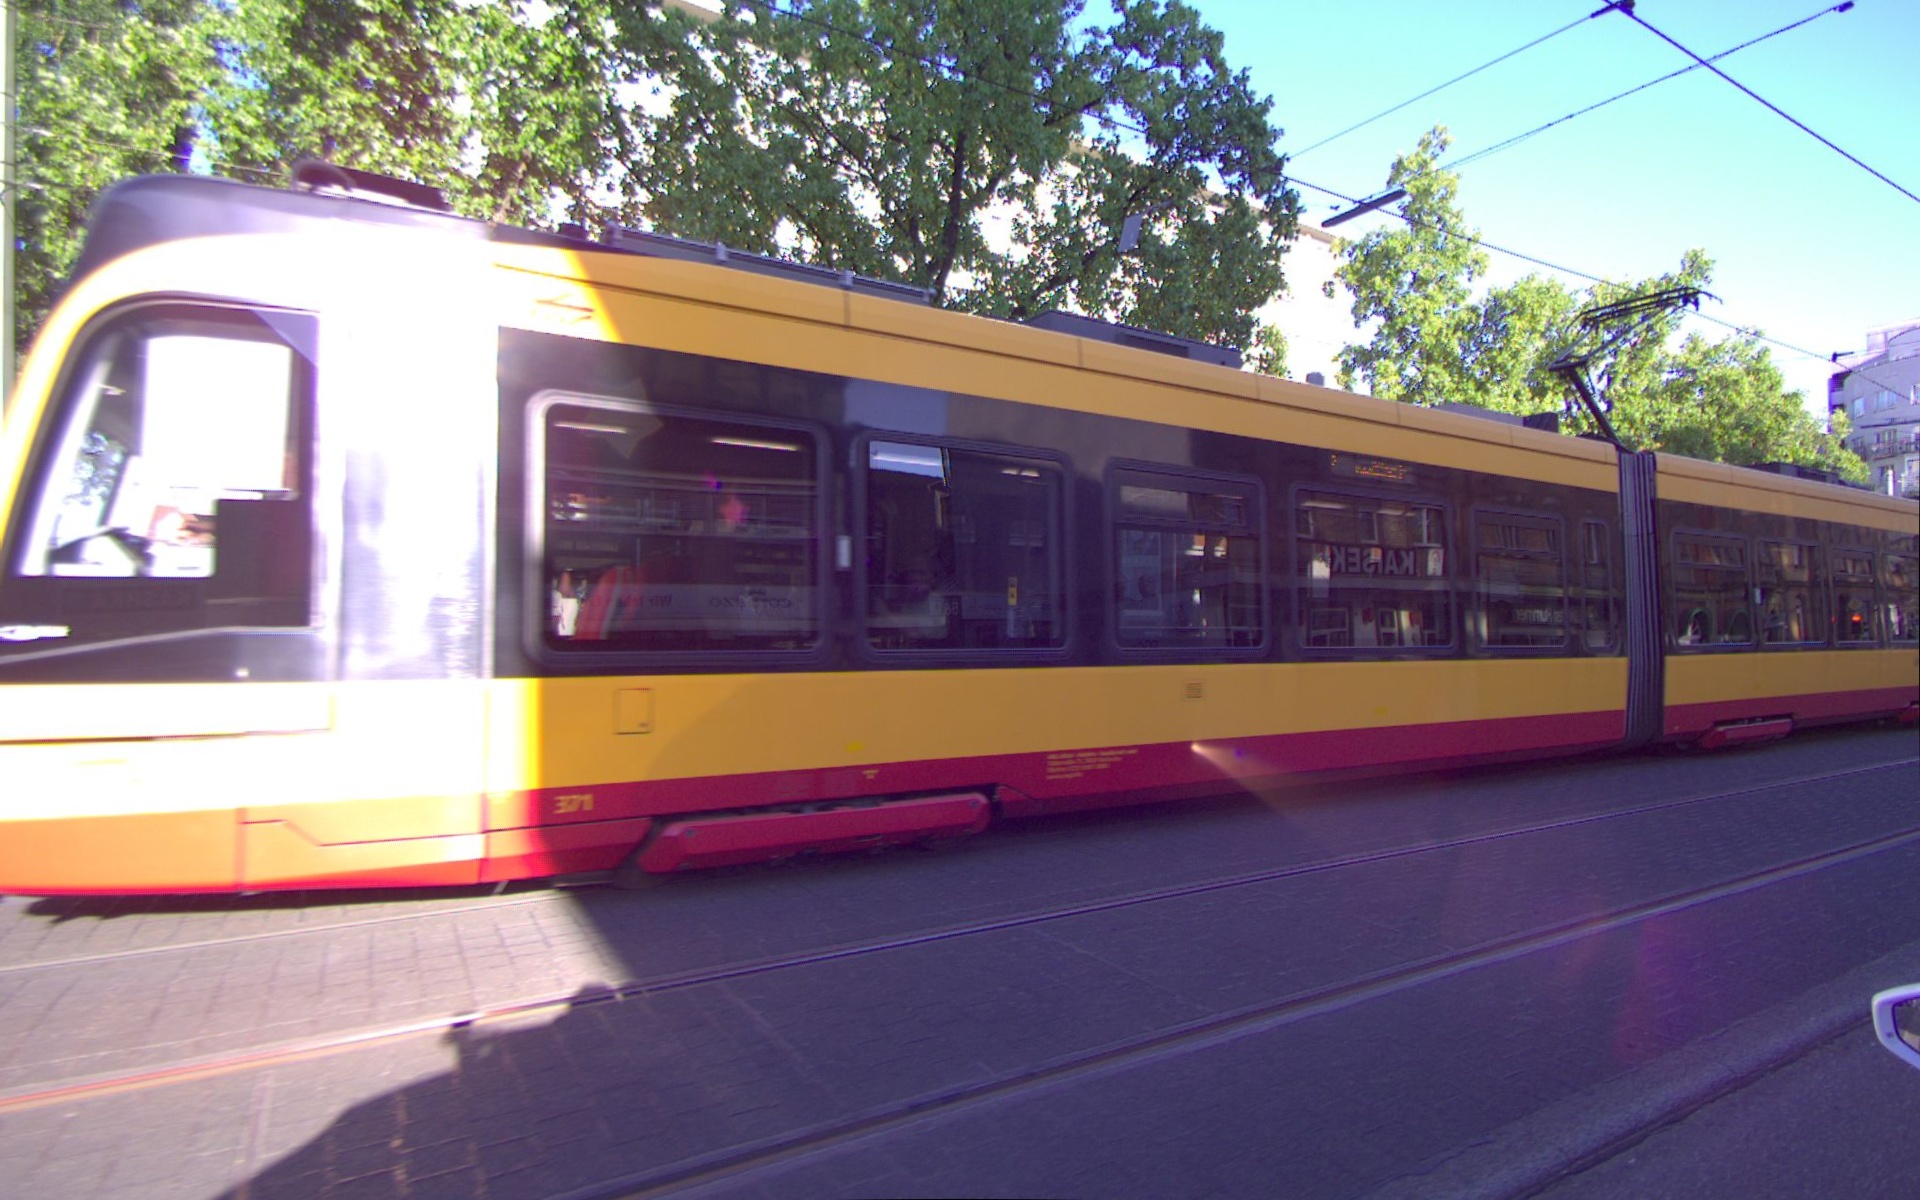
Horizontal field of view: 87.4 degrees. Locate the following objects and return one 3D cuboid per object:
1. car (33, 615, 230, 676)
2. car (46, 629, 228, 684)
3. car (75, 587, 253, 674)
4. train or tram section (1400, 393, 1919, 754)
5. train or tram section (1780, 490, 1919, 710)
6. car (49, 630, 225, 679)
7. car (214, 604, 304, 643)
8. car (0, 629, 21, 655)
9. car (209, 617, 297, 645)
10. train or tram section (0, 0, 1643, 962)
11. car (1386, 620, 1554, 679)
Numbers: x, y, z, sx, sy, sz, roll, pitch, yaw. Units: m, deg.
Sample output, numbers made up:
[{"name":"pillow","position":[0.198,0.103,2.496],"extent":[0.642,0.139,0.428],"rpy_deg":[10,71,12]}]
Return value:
[{"name":"car","position":[-29.737,1.621,36.348],"extent":[5.215,2.072,2.034],"rpy_deg":[2,-2,-33]},{"name":"car","position":[-25.094,1.704,30.842],"extent":[4.057,1.599,2.020],"rpy_deg":[2,-2,-33]},{"name":"car","position":[-33.643,1.355,42.720],"extent":[5.571,3.455,2.124],"rpy_deg":[3,-2,-32]},{"name":"train or tram section","position":[10.742,-0.107,14.036],"extent":[11.001,3.597,2.662],"rpy_deg":[2,-2,-32]},{"name":"train or tram section","position":[20.848,0.168,20.248],"extent":[12.696,3.597,2.662],"rpy_deg":[2,-2,-32]},{"name":"car","position":[-28.245,1.842,34.699],"extent":[4.415,1.599,2.034],"rpy_deg":[2,-2,-33]},{"name":"car","position":[-50.896,1.771,73.072],"extent":[5.242,2.652,2.123],"rpy_deg":[3,-3,-34]},{"name":"car","position":[-58.845,2.544,61.274],"extent":[1.839,1.564,3.984],"rpy_deg":[1,-1,-37]},{"name":"car","position":[-68.263,2.990,97.139],"extent":[6.903,2.653,2.549],"rpy_deg":[1,-2,-36]},{"name":"train or tram section","position":[0.760,-0.328,7.824],"extent":[12.327,3.597,2.744],"rpy_deg":[2,-2,-32]},{"name":"car","position":[14.740,1.389,29.143],"extent":[4.192,1.448,1.764],"rpy_deg":[2,0,29]}]
